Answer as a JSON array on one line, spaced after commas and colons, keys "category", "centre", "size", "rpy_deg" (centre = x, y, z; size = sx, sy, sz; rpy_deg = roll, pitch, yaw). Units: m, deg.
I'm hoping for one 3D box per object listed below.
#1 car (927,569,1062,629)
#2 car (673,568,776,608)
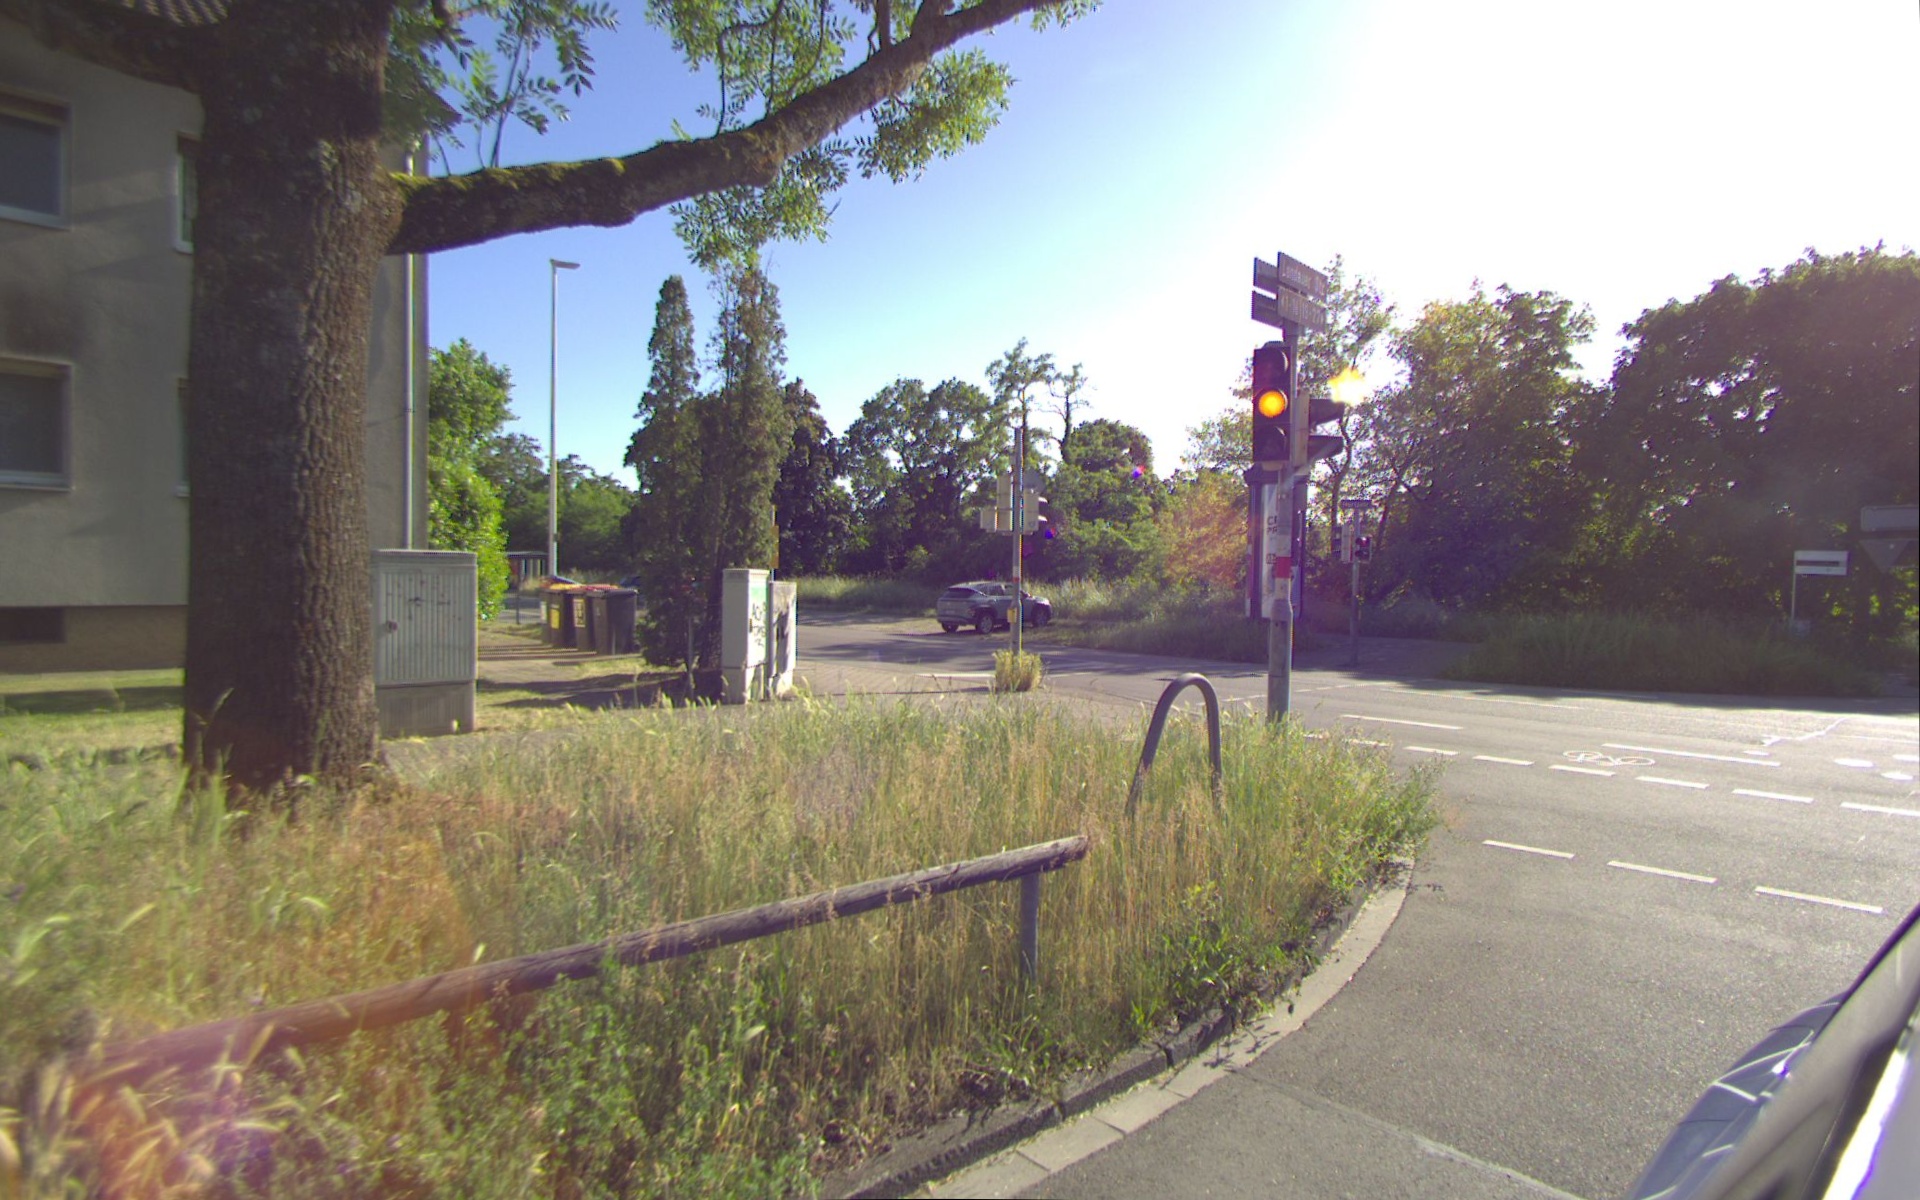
[{"category": "car", "centre": [1.197, -0.067, 33.050], "size": [4.377, 1.670, 1.864], "rpy_deg": [-5, 3, -44]}, {"category": "car", "centre": [-10.611, -0.556, 45.774], "size": [4.129, 1.550, 1.864], "rpy_deg": [-5, 3, -44]}]
